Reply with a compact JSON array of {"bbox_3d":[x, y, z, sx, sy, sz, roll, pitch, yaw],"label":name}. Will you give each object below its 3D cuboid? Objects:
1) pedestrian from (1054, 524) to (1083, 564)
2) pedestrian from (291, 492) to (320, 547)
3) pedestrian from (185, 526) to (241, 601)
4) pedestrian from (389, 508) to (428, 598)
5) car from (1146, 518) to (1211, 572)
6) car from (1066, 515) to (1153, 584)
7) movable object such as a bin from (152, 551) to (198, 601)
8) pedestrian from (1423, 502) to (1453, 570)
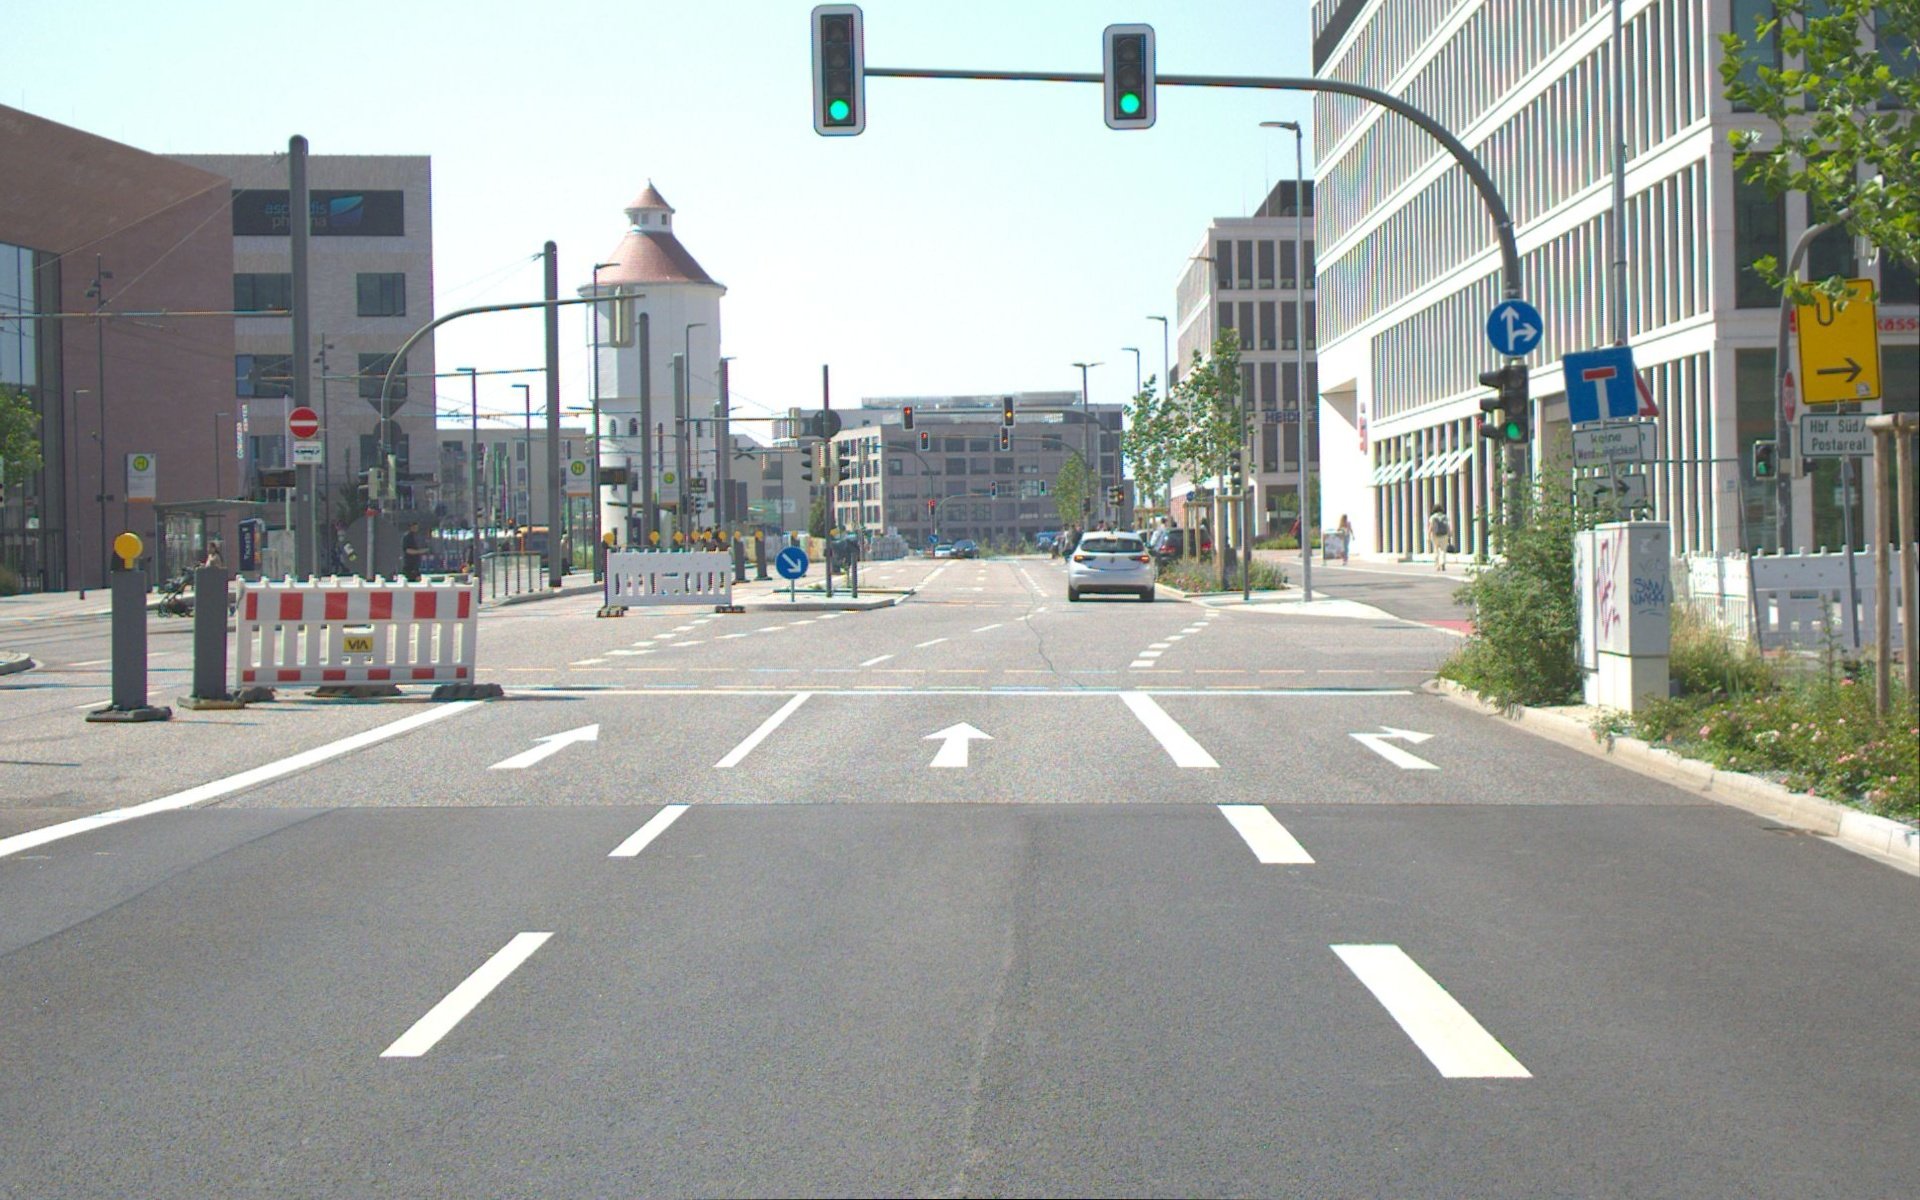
[{"bbox_3d":[4.571,-2.379,145.107,0.893,1.668,1.013,-1,1,-17],"label":"pedestrian"},{"bbox_3d":[-21.761,-2.661,114.334,0.811,1.813,0.825,0,1,1],"label":"pedestrian"},{"bbox_3d":[-15.647,-0.771,72.041,0.929,1.557,0.794,-1,2,-30],"label":"pedestrian"},{"bbox_3d":[-11.297,-0.962,70.463,0.653,1.827,0.661,0,1,5],"label":"pedestrian"},{"bbox_3d":[6.147,-1.541,96.428,1.737,1.469,3.980,0,1,5],"label":"car"},{"bbox_3d":[3.131,-1.038,72.034,1.772,1.390,3.531,1,0,3],"label":"car"},{"bbox_3d":[-16.353,-0.502,71.628,0.713,1.028,0.794,-1,2,-30],"label":"movable object such as a bin"},{"bbox_3d":[12.189,-1.635,87.666,0.627,1.736,0.814,-1,1,1],"label":"pedestrian"}]
